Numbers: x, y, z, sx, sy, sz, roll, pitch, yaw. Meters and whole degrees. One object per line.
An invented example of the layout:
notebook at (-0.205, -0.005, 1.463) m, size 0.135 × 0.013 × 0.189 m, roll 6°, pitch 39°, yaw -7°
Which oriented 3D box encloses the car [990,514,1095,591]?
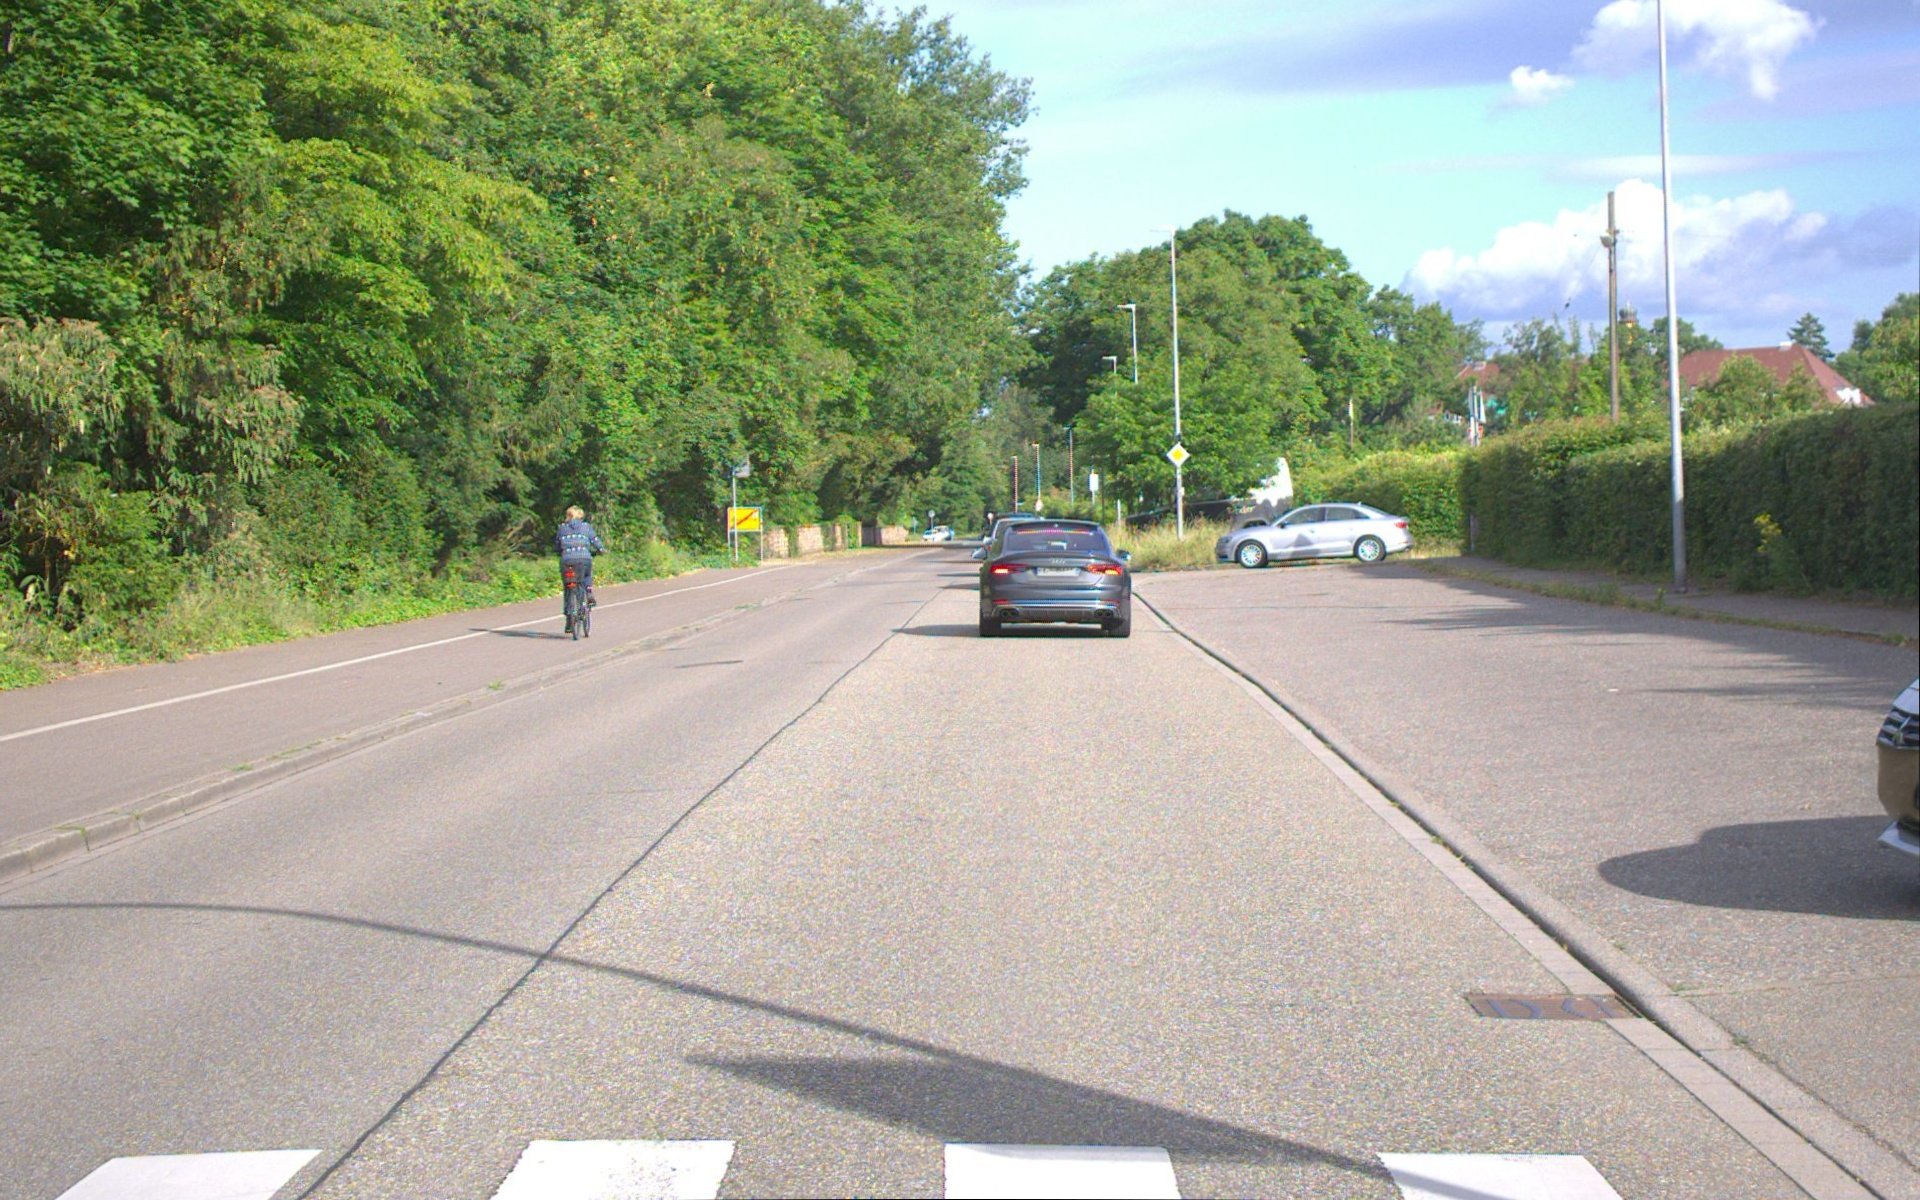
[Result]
car at (1.539, -0.930, 65.405) m, size 1.886 × 1.367 × 4.055 m, roll -2°, pitch 1°, yaw 0°

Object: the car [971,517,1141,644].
car at (1.199, -0.282, 42.372) m, size 1.966 × 1.429 × 4.336 m, roll -1°, pitch 2°, yaw 2°

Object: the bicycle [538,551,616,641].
bicycle at (-4.923, -0.072, 44.294) m, size 0.662 × 1.093 × 2.348 m, roll 0°, pitch 2°, yaw 2°

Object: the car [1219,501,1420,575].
car at (8.077, -1.390, 77.138) m, size 4.363 × 1.438 × 1.932 m, roll -3°, pitch 1°, yaw 8°

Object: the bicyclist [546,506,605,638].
bicyclist at (-4.938, -0.368, 44.173) m, size 0.608 × 1.671 × 0.884 m, roll 0°, pitch 2°, yaw 2°

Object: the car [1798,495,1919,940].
car at (5.196, 0.256, 12.343) m, size 3.857 × 1.485 × 1.692 m, roll -5°, pitch 3°, yaw 0°

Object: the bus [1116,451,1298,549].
bus at (7.688, -3.133, 107.193) m, size 5.365 × 2.737 × 2.069 m, roll -3°, pitch 2°, yaw -1°

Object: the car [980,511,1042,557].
car at (1.589, -2.087, 107.960) m, size 1.886 × 1.367 × 4.055 m, roll -2°, pitch 1°, yaw 0°
